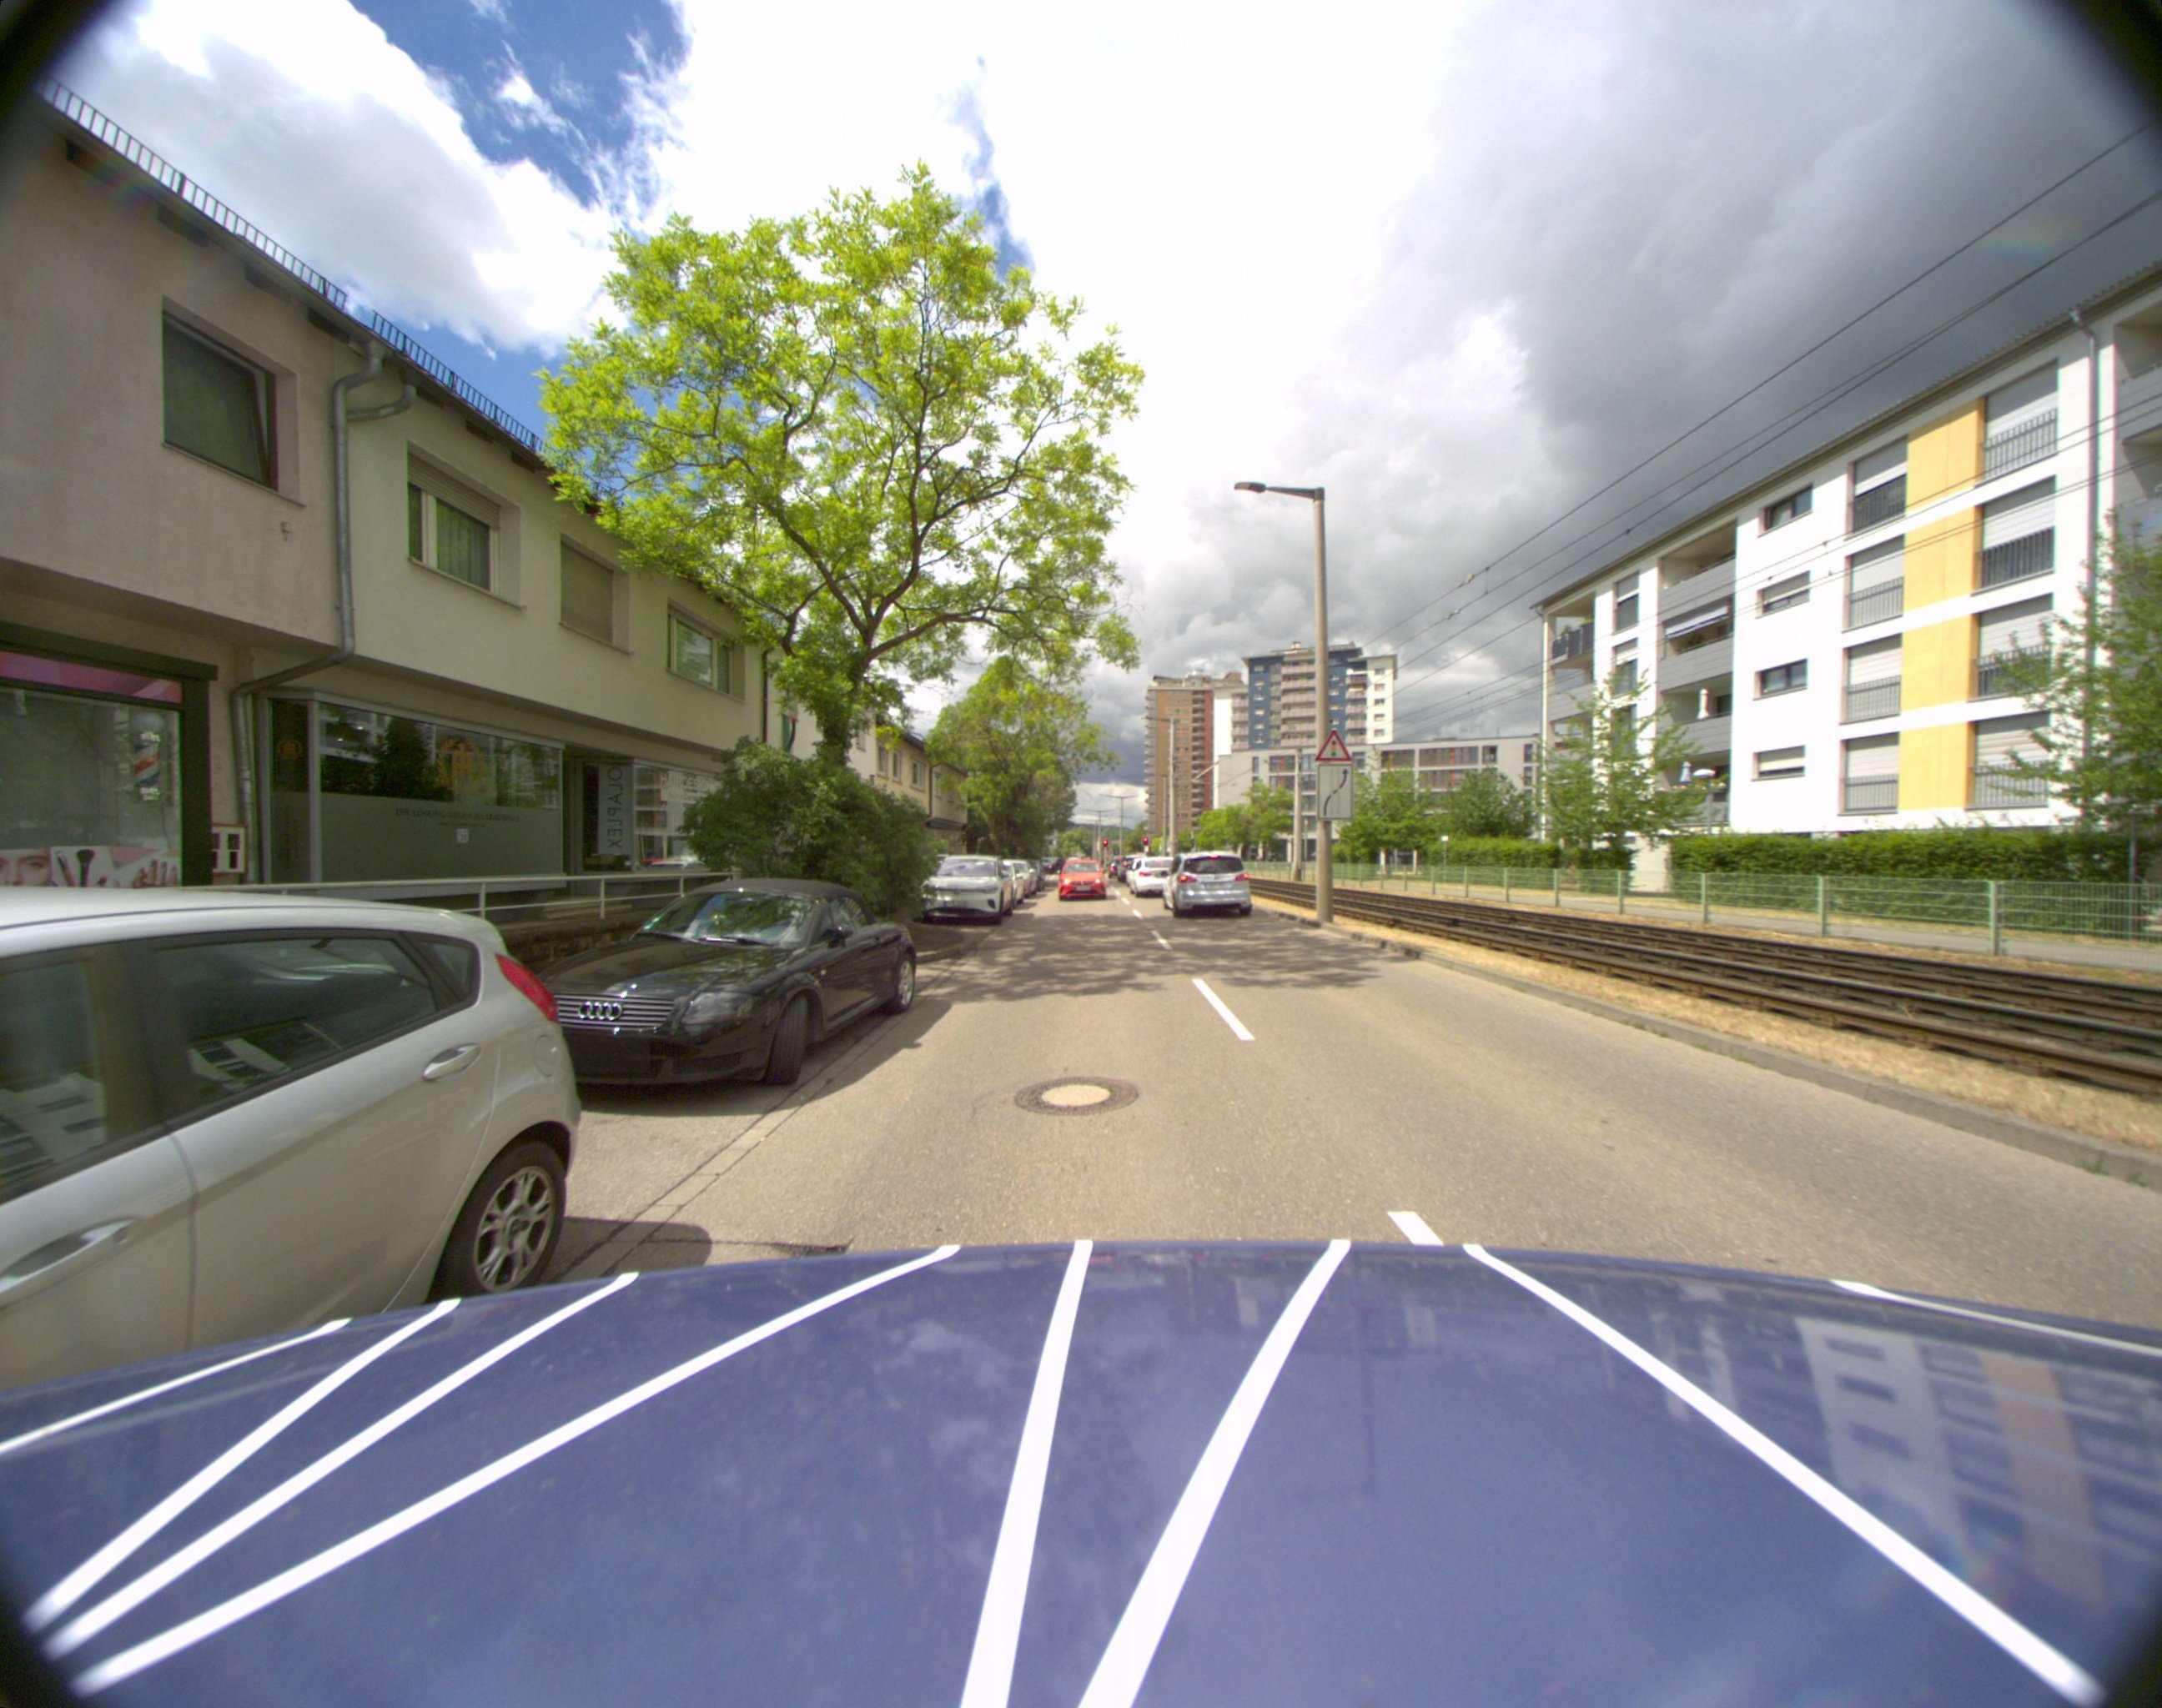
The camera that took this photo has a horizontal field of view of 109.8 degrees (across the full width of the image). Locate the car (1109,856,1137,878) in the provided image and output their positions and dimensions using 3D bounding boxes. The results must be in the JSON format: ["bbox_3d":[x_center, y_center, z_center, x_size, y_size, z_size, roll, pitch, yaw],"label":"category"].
[{"bbox_3d":[2.929,0.894,53.750,1.815,1.437,4.465,0,0,1],"label":"car"}]

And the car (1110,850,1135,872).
[{"bbox_3d":[3.218,0.535,59.979,1.862,1.650,4.176,0,0,2],"label":"car"}]

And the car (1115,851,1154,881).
[{"bbox_3d":[3.136,0.679,45.150,1.862,1.681,4.432,0,0,-1],"label":"car"}]

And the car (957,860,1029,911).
[{"bbox_3d":[-2.721,0.953,24.451,1.729,1.418,4.446,0,0,1],"label":"car"}]

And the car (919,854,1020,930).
[{"bbox_3d":[-2.641,0.829,19.000,1.842,1.634,4.429,-1,0,0],"label":"car"}]

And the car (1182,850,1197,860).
[{"bbox_3d":[16.941,0.088,118.919,1.781,1.531,3.803,-1,0,-1],"label":"car"}]

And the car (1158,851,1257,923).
[{"bbox_3d":[3.183,0.767,19.969,1.822,1.604,4.601,-2,0,0],"label":"car"}]

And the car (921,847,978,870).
[{"bbox_3d":[-9.648,0.321,55.596,3.941,1.510,1.800,1,0,-16],"label":"car"}]

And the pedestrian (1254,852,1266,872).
[{"bbox_3d":[14.960,0.657,63.480,0.756,1.603,0.938,-1,1,0],"label":"pedestrian"}]

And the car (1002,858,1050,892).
[{"bbox_3d":[-2.528,0.925,35.775,1.818,1.455,4.041,0,0,2],"label":"car"}]

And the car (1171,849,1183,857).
[{"bbox_3d":[19.131,-0.230,151.909,1.781,1.650,3.803,-1,0,-1],"label":"car"}]

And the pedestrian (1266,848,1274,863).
[{"bbox_3d":[20.389,0.151,81.873,0.749,1.644,0.538,-1,1,0],"label":"pedestrian"}]

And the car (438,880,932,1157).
[{"bbox_3d":[-2.685,1.000,6.343,1.775,1.341,4.001,2,1,4],"label":"car"}]

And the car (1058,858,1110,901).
[{"bbox_3d":[0.150,0.897,28.566,1.792,1.387,4.241,-2,1,1],"label":"car"}]

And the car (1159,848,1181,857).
[{"bbox_3d":[18.272,-0.343,156.285,4.505,1.914,1.877,-1,1,-41],"label":"car"}]

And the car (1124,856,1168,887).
[{"bbox_3d":[3.151,0.831,37.660,1.751,1.398,3.939,0,0,-1],"label":"car"}]

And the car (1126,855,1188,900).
[{"bbox_3d":[2.850,0.831,29.324,1.822,1.494,4.836,-2,0,0],"label":"car"}]

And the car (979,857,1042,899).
[{"bbox_3d":[-2.719,0.887,30.396,1.818,1.490,4.911,0,0,2],"label":"car"}]

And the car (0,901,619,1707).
[{"bbox_3d":[-2.690,0.951,1.030,1.776,1.434,3.898,2,1,-1],"label":"car"}]
